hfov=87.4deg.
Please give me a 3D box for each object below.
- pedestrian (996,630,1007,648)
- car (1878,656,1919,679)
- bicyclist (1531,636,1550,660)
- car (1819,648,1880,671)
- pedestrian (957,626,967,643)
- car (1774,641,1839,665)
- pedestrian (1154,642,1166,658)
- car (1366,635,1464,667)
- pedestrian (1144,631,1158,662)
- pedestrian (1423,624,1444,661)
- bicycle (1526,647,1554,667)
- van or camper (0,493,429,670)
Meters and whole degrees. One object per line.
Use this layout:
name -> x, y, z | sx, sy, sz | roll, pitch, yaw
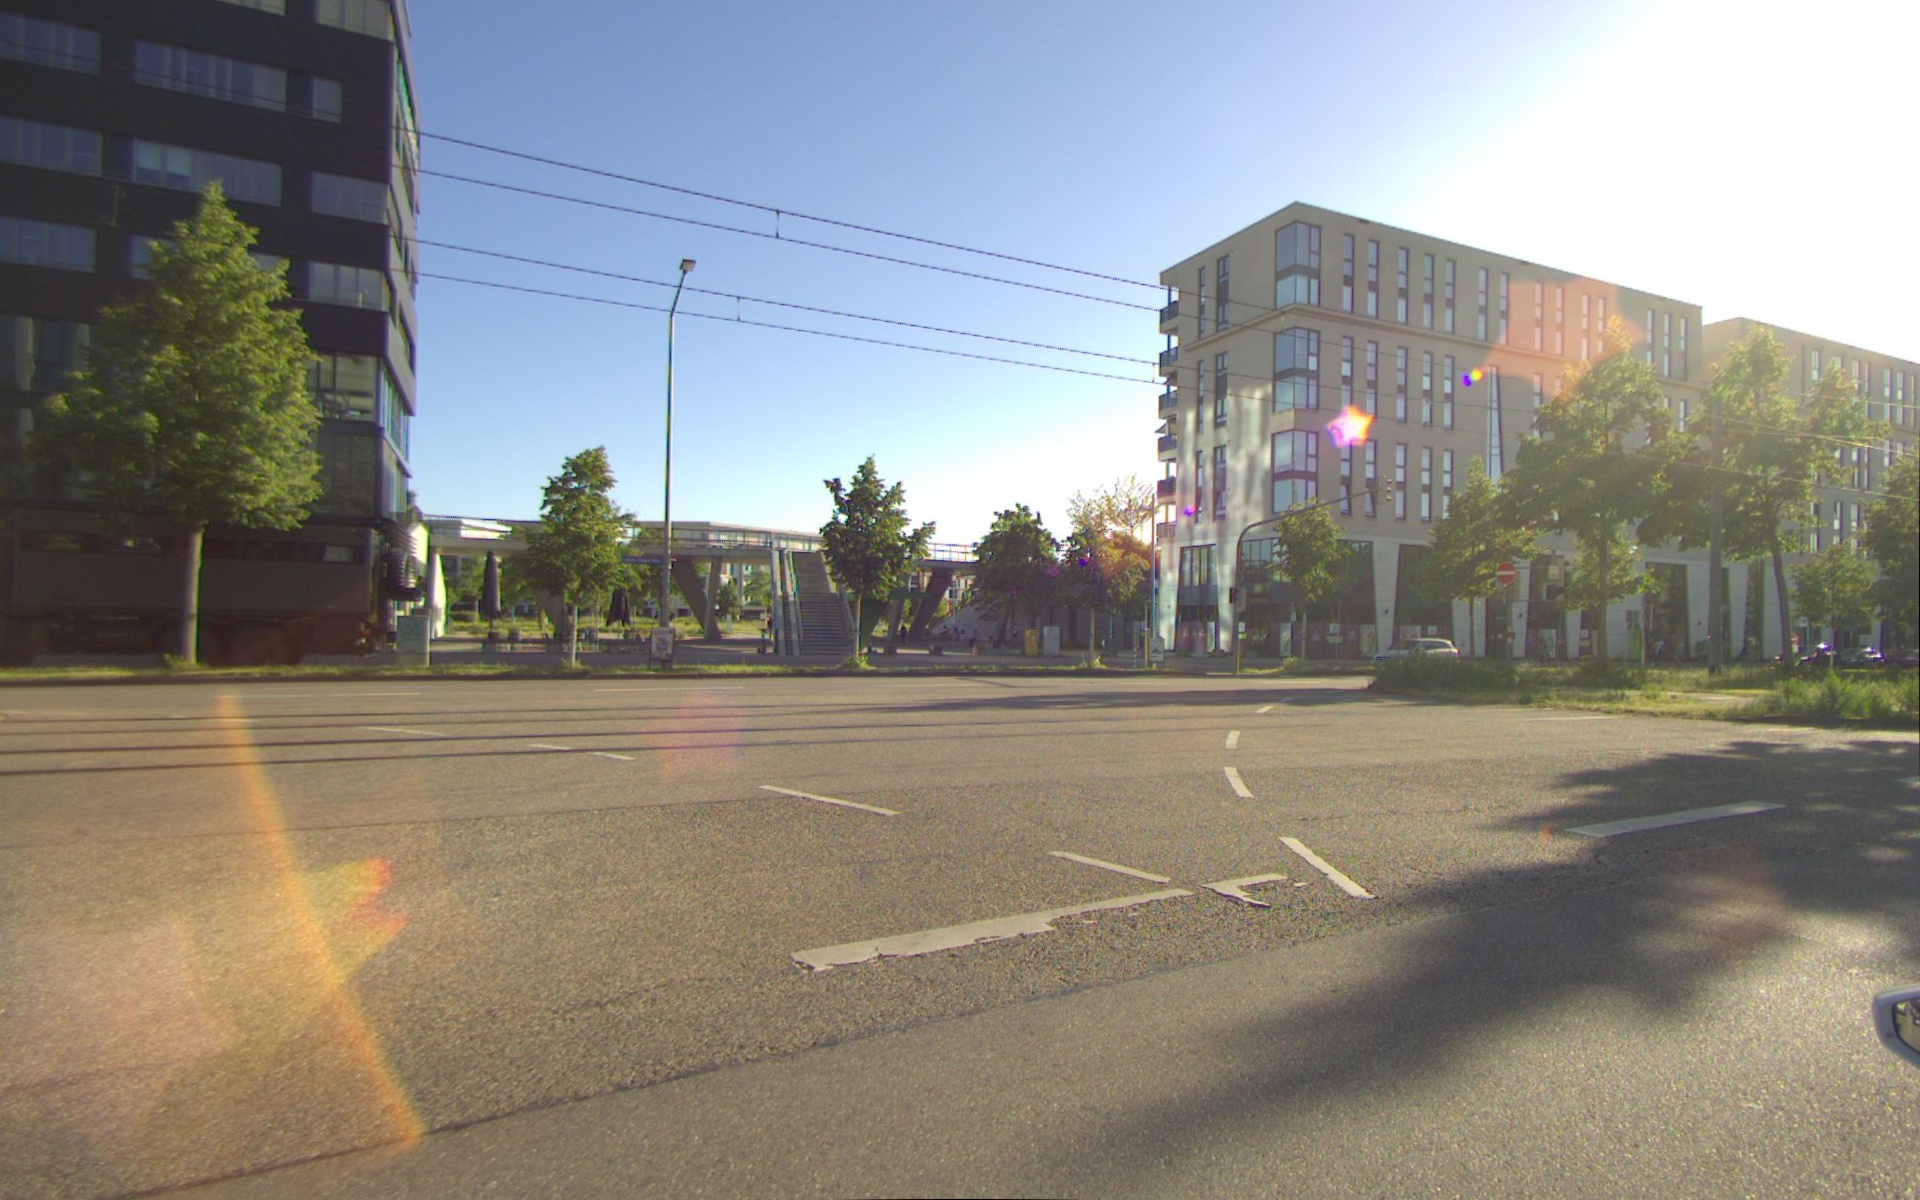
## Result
pedestrian -> 2.750, 2.611, 67.044 | 0.591, 1.140, 0.438 | 2, 0, -23
car -> 61.160, 4.350, 64.828 | 3.662, 1.360, 1.575 | 2, -1, -26
bicyclist -> 33.490, 2.772, 57.948 | 0.695, 1.310, 0.577 | 2, 0, -22
car -> 54.990, 3.662, 62.088 | 3.662, 1.360, 1.575 | 2, -1, -26
pedestrian -> 0.132, 2.424, 70.457 | 0.591, 1.140, 0.438 | 2, 0, -23
car -> 50.012, 3.131, 59.347 | 3.662, 1.360, 1.575 | 2, -1, -26
pedestrian -> 11.913, 2.988, 59.923 | 0.589, 0.932, 0.432 | 2, 0, 29
car -> 20.677, 2.322, 45.615 | 4.412, 1.360, 1.575 | 2, -1, -26
pedestrian -> 11.202, 2.711, 59.025 | 0.589, 1.795, 0.672 | 2, 0, 29
pedestrian -> 23.734, 2.134, 50.365 | 0.790, 1.836, 0.576 | 2, 0, -29
bicycle -> 33.455, 3.277, 57.961 | 1.614, 1.125, 0.527 | 2, 0, -23
van or camper -> -20.113, -0.320, 26.940 | 10.090, 4.248, 2.746 | 2, -1, -25
